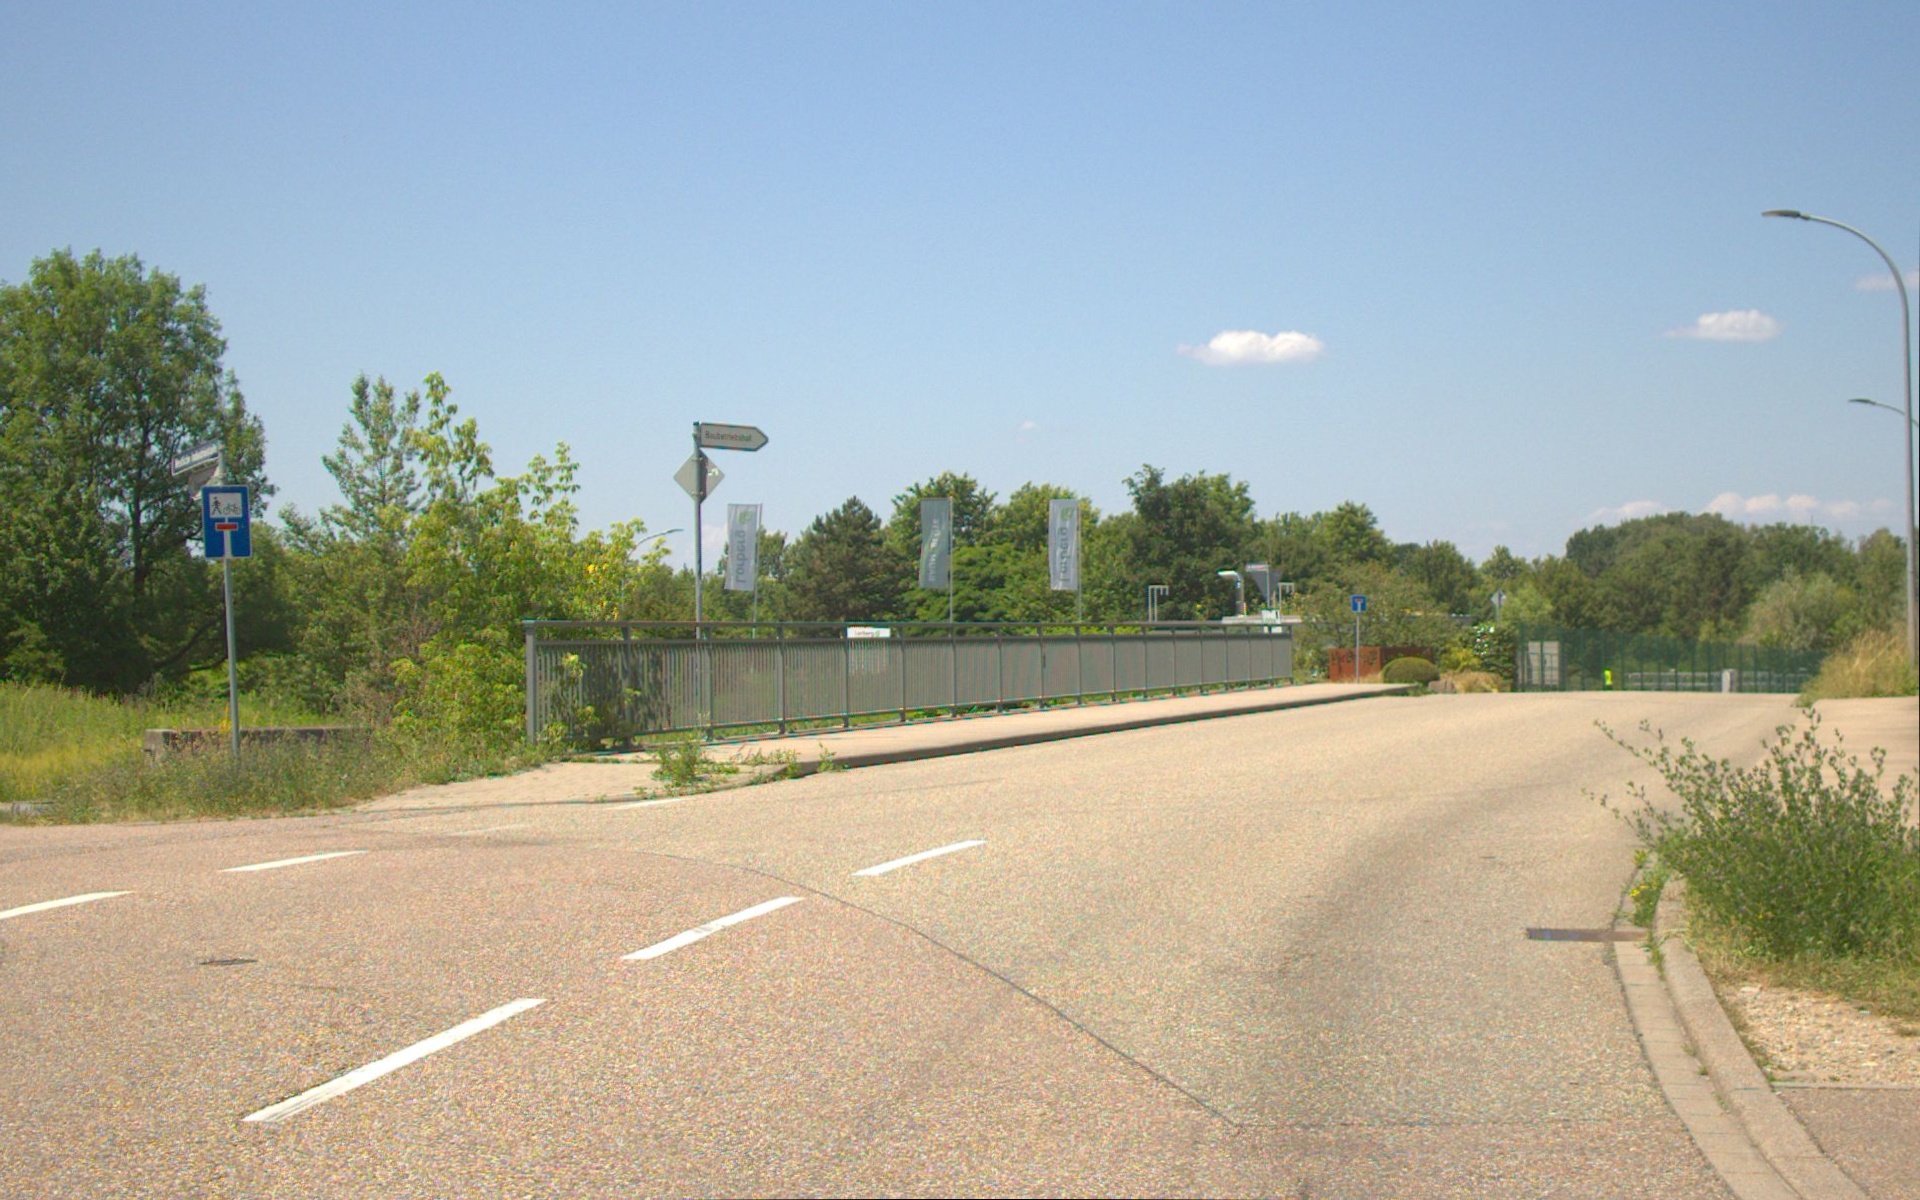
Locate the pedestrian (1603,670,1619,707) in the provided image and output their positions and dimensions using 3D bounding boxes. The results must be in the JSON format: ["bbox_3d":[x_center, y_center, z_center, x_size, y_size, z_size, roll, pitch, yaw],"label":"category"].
[{"bbox_3d":[32.453,4.395,171.429,0.606,1.833,0.804,-2,-2,23],"label":"pedestrian"}]
